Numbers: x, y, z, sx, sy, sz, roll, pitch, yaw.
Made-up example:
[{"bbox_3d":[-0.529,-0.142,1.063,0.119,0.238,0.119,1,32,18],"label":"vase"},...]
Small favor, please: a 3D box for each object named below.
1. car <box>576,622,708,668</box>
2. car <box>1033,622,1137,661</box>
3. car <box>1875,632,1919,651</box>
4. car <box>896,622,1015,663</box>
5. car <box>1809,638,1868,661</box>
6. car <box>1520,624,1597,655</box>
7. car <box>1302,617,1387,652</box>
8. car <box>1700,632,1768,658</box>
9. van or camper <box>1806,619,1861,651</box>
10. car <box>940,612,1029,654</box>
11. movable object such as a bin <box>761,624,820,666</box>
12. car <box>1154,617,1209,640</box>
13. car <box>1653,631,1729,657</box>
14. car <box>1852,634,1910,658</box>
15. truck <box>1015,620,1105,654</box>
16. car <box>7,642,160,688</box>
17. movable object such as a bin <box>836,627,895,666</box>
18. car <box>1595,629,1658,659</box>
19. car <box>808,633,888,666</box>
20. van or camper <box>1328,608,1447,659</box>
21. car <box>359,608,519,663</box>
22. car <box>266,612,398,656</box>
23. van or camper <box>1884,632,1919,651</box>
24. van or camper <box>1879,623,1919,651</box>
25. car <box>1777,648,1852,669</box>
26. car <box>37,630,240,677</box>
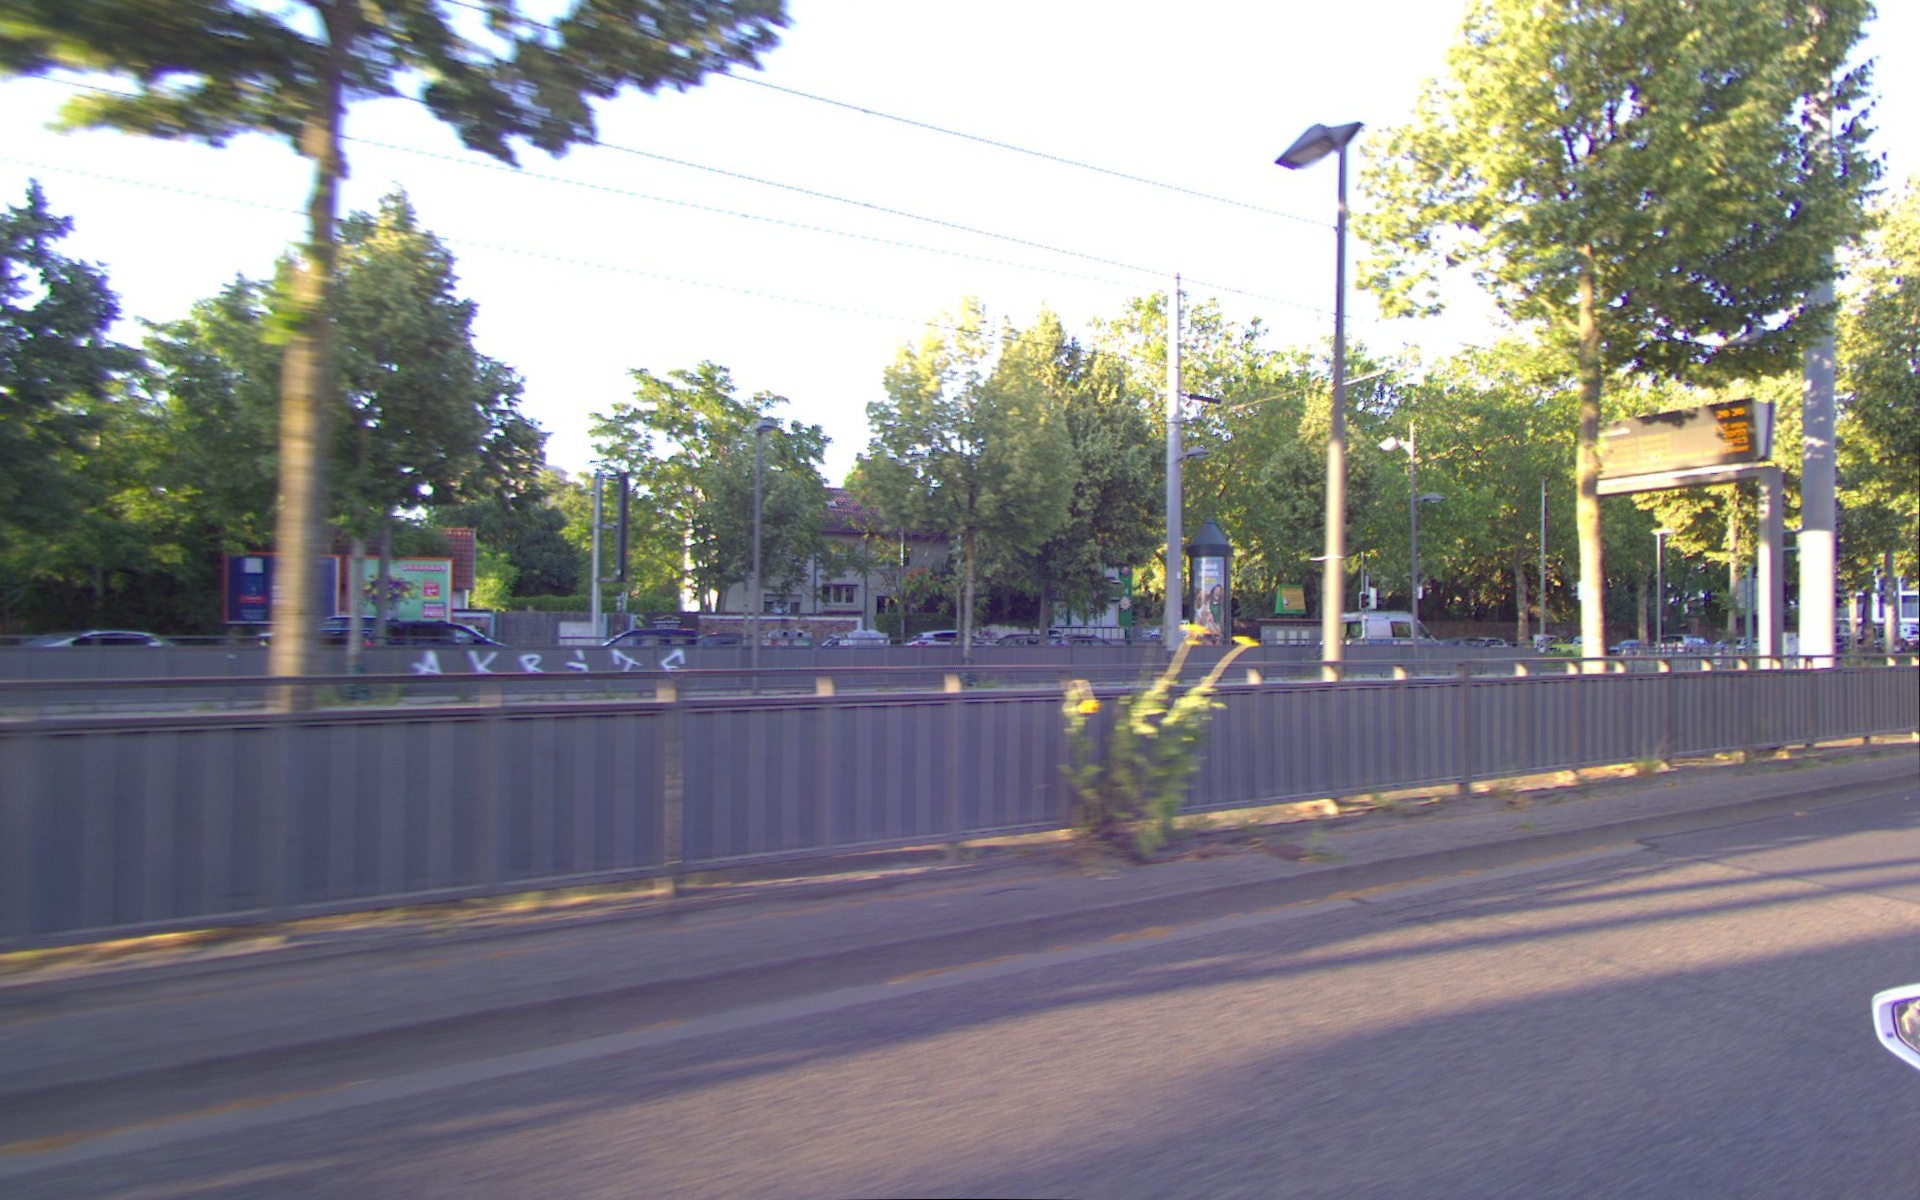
[{"bbox_3d":[-10.683,1.473,33.746,3.950,1.468,1.985,1,-1,-29],"label":"car"},{"bbox_3d":[5.206,1.712,41.626,4.003,1.551,1.802,1,-1,-29],"label":"car"},{"bbox_3d":[74.565,3.277,79.488,3.948,1.505,1.987,1,-2,-27],"label":"car"},{"bbox_3d":[-0.161,1.615,39.046,4.246,1.520,1.985,1,-1,-29],"label":"car"},{"bbox_3d":[63.380,3.548,72.444,3.785,1.581,1.798,1,-2,-25],"label":"car"},{"bbox_3d":[32.901,2.141,55.195,3.952,1.661,1.985,1,-1,-29],"label":"car"},{"bbox_3d":[23.292,2.102,60.864,4.992,2.040,1.987,1,-1,-27],"label":"car"},{"bbox_3d":[48.498,2.810,62.924,4.254,1.519,1.892,1,-2,-29],"label":"car"},{"bbox_3d":[76.247,3.042,87.641,5.433,2.771,2.074,1,-2,-32],"label":"van or camper"},{"bbox_3d":[1.215,1.619,49.581,3.947,2.040,1.987,1,-1,-26],"label":"car"},{"bbox_3d":[-6.004,1.579,35.512,1.680,1.430,1.403,1,-1,-28],"label":"movable object such as a bin"},{"bbox_3d":[17.685,2.278,80.170,3.953,1.773,1.984,1,-1,-30],"label":"car"},{"bbox_3d":[43.515,2.618,59.768,4.502,1.518,1.985,1,-2,-29],"label":"car"},{"bbox_3d":[70.117,3.474,76.458,4.735,1.773,1.984,1,-2,-31],"label":"car"},{"bbox_3d":[5.166,1.901,51.848,4.237,1.712,1.987,1,-1,-27],"label":"truck"},{"bbox_3d":[-29.874,2.174,34.394,3.614,1.467,1.712,1,-2,-29],"label":"car"},{"bbox_3d":[-3.457,1.676,36.742,1.703,1.390,1.546,1,-1,-28],"label":"movable object such as a bin"},{"bbox_3d":[47.999,3.148,72.341,3.943,2.040,1.989,1,-1,-23],"label":"car"},{"bbox_3d":[-5.196,2.270,46.594,3.364,1.449,1.639,1,-1,-29],"label":"car"},{"bbox_3d":[21.228,1.664,49.853,5.704,2.396,2.277,1,-1,-25],"label":"van or camper"},{"bbox_3d":[-16.058,1.080,31.101,4.244,1.606,1.985,1,-1,-29],"label":"car"},{"bbox_3d":[-23.464,1.270,37.690,3.946,1.572,1.988,1,-1,-25],"label":"car"},{"bbox_3d":[92.731,4.053,97.743,1.983,1.815,3.955,1,-2,-39],"label":"van or camper"},{"bbox_3d":[111.150,4.339,117.926,6.179,3.126,2.701,1,-1,-26],"label":"van or camper"},{"bbox_3d":[56.895,3.891,66.854,5.074,1.332,1.987,1,-2,-26],"label":"car"},{"bbox_3d":[-22.714,1.456,27.995,4.038,1.217,1.985,1,-1,-29],"label":"car"}]
